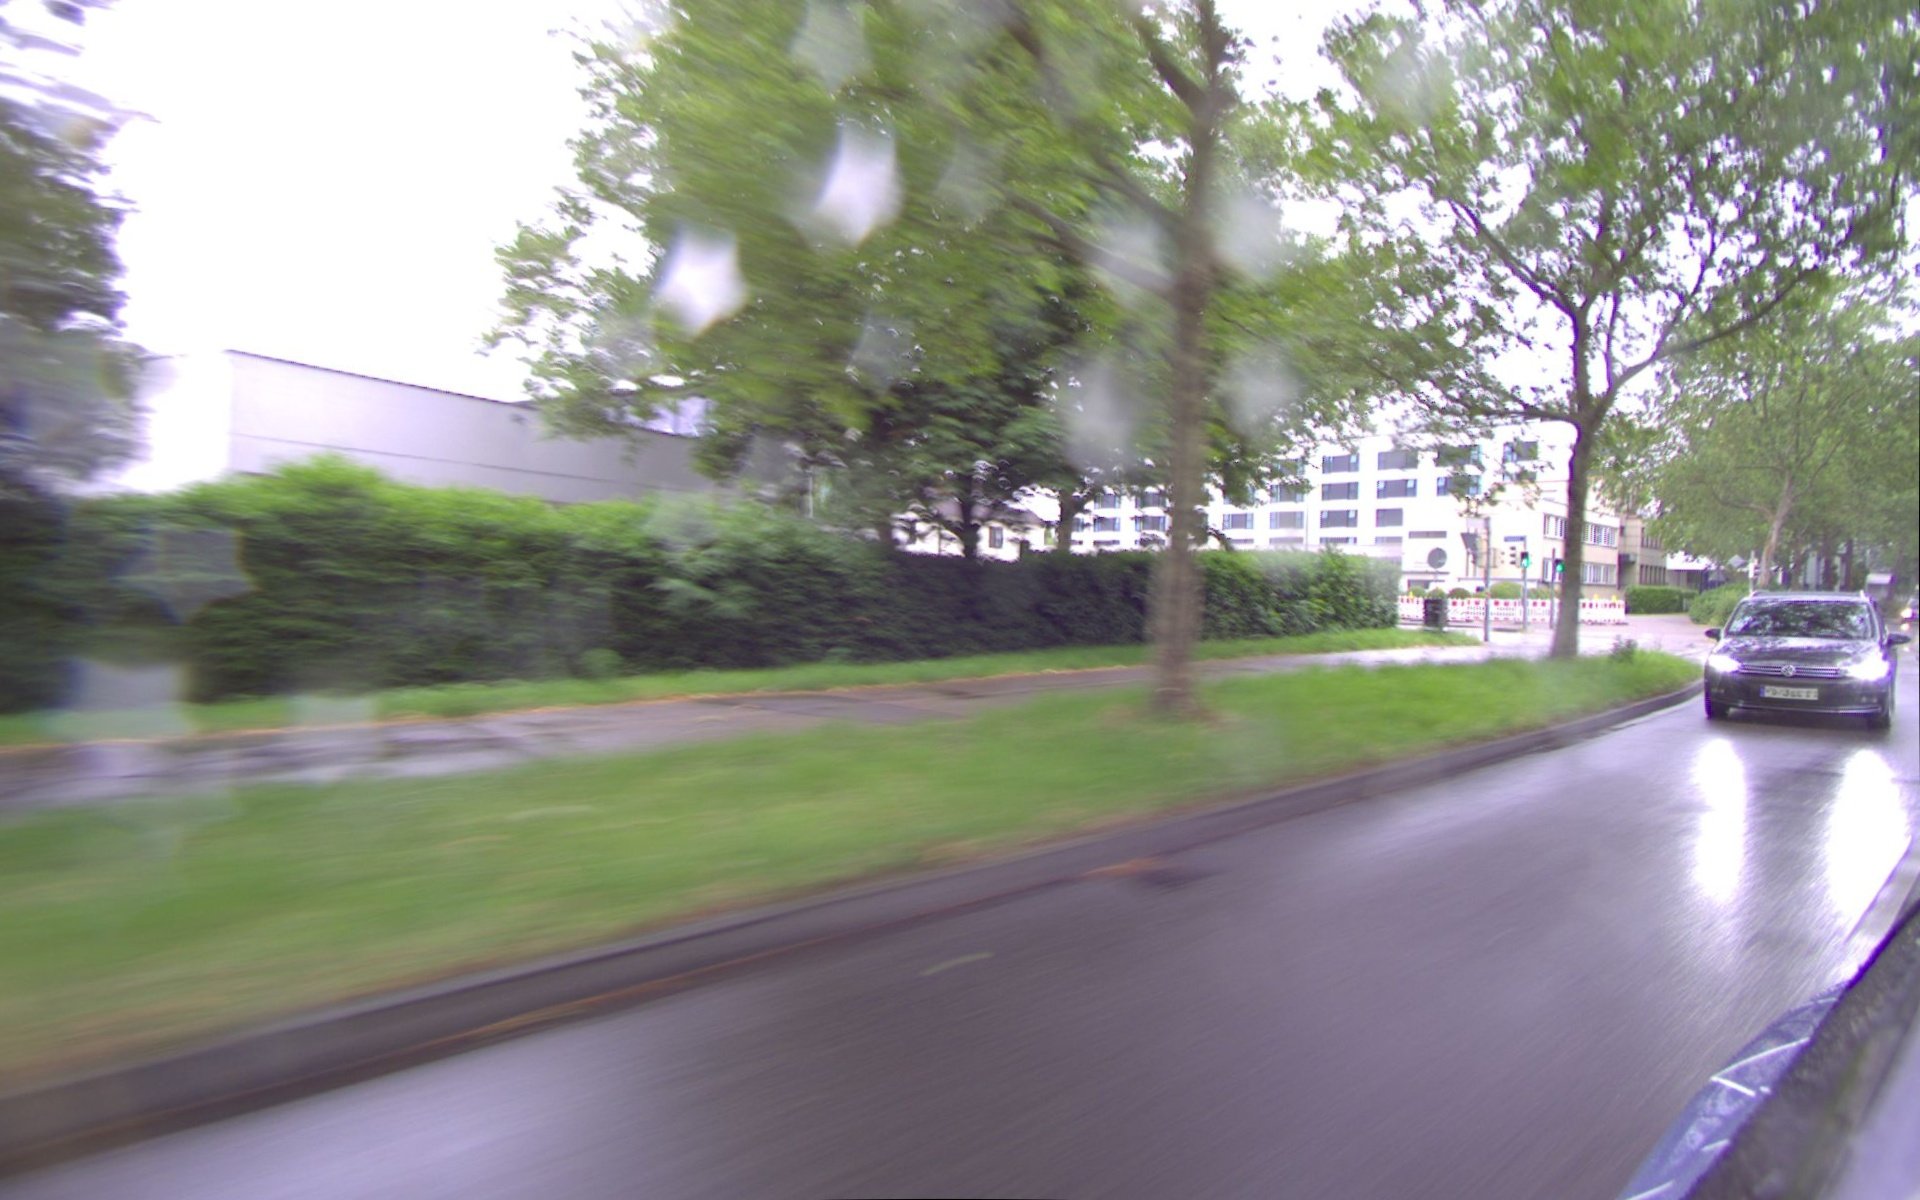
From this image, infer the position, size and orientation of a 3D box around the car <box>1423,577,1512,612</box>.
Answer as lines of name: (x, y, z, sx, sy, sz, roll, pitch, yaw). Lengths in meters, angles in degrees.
car: (27.740, -0.309, 55.377, 1.756, 1.792, 3.989, 0, 1, -45)

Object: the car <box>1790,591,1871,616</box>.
car: (57.793, 0.196, 67.224, 1.756, 1.575, 3.989, 0, 1, -45)

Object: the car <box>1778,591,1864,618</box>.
car: (53.914, 0.250, 63.393, 1.756, 1.575, 3.989, 0, 1, -45)

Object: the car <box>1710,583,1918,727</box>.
car: (11.227, 0.589, 13.213, 1.780, 1.575, 3.936, 2, 1, 44)

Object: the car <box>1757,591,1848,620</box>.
car: (49.795, 0.304, 59.873, 1.756, 1.575, 3.989, 0, 1, -45)

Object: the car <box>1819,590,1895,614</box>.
car: (64.691, 0.111, 73.002, 1.756, 1.575, 3.989, 0, 1, -45)
